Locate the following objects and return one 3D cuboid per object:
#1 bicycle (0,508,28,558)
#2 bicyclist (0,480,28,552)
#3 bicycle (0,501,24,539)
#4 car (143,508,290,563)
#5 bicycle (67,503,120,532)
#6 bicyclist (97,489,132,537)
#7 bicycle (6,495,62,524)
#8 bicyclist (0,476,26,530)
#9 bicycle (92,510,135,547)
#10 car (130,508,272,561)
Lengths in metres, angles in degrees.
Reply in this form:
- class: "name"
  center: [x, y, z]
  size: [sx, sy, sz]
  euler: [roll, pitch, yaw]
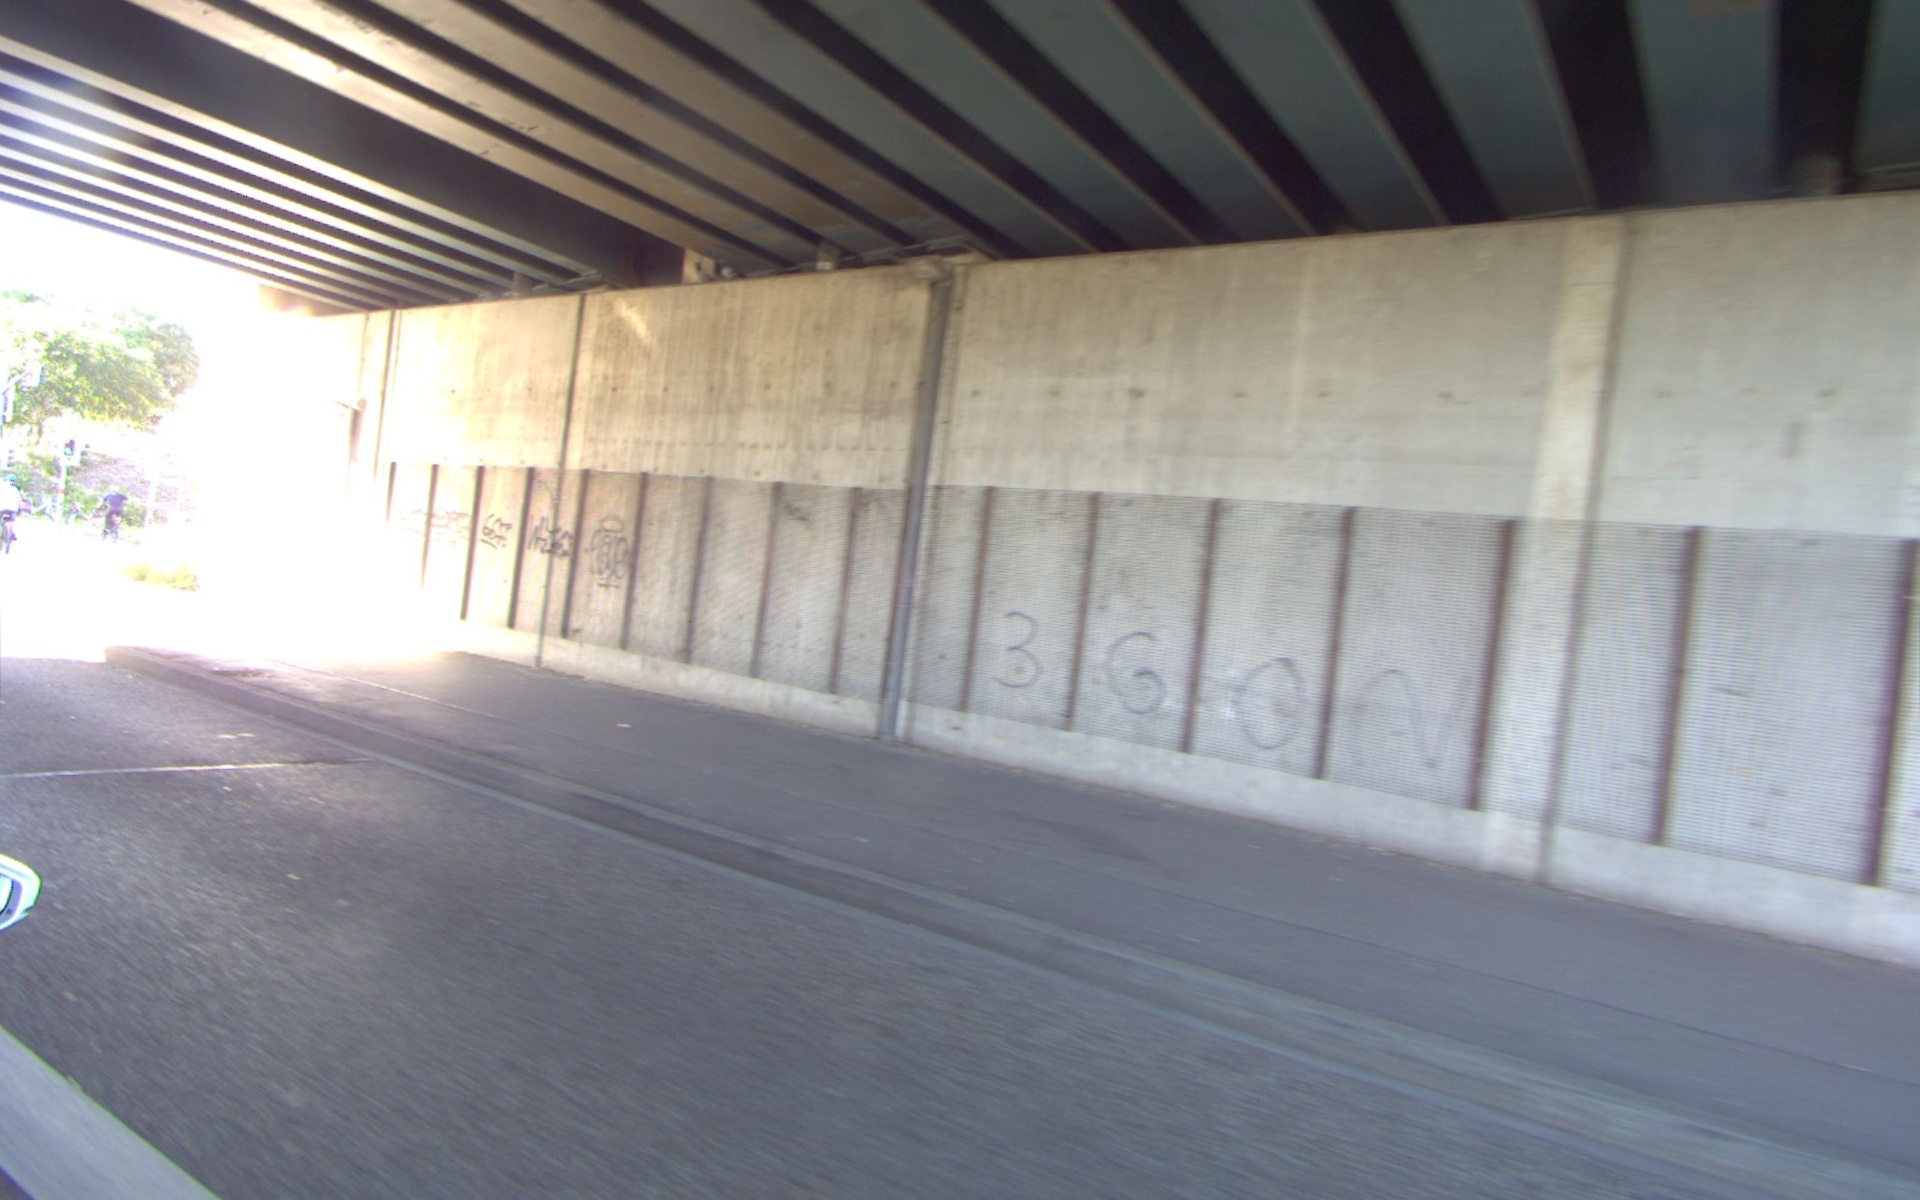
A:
- class: "bicycle"
  center: [-21.671, -1.534, 22.818]
  size: [1.728, 1.035, 0.590]
  euler: [5, -2, 44]
- class: "bicyclist"
  center: [-21.645, -1.910, 22.801]
  size: [0.759, 1.566, 0.590]
  euler: [5, -2, 44]
- class: "bicycle"
  center: [-28.191, -2.372, 29.658]
  size: [2.029, 1.035, 0.670]
  euler: [5, -2, 44]
- class: "car"
  center: [-30.954, -2.659, 41.990]
  size: [1.801, 1.531, 4.549]
  euler: [5, -3, 38]
- class: "bicycle"
  center: [-40.669, -3.865, 47.242]
  size: [0.586, 1.035, 1.743]
  euler: [5, -3, 42]
- class: "bicyclist"
  center: [-28.697, -2.958, 34.146]
  size: [0.609, 1.498, 0.649]
  euler: [8, 0, 36]
- class: "bicycle"
  center: [-42.556, -4.136, 46.240]
  size: [0.585, 1.035, 1.744]
  euler: [5, -3, 40]
- class: "bicyclist"
  center: [-28.009, -2.844, 29.542]
  size: [0.741, 1.491, 0.664]
  euler: [5, -2, 44]
- class: "bicycle"
  center: [-28.699, -2.442, 34.106]
  size: [1.723, 1.036, 0.667]
  euler: [8, 0, 37]
- class: "car"
  center: [-32.891, -2.821, 43.709]
  size: [1.801, 1.531, 4.549]
  euler: [5, -3, 38]
